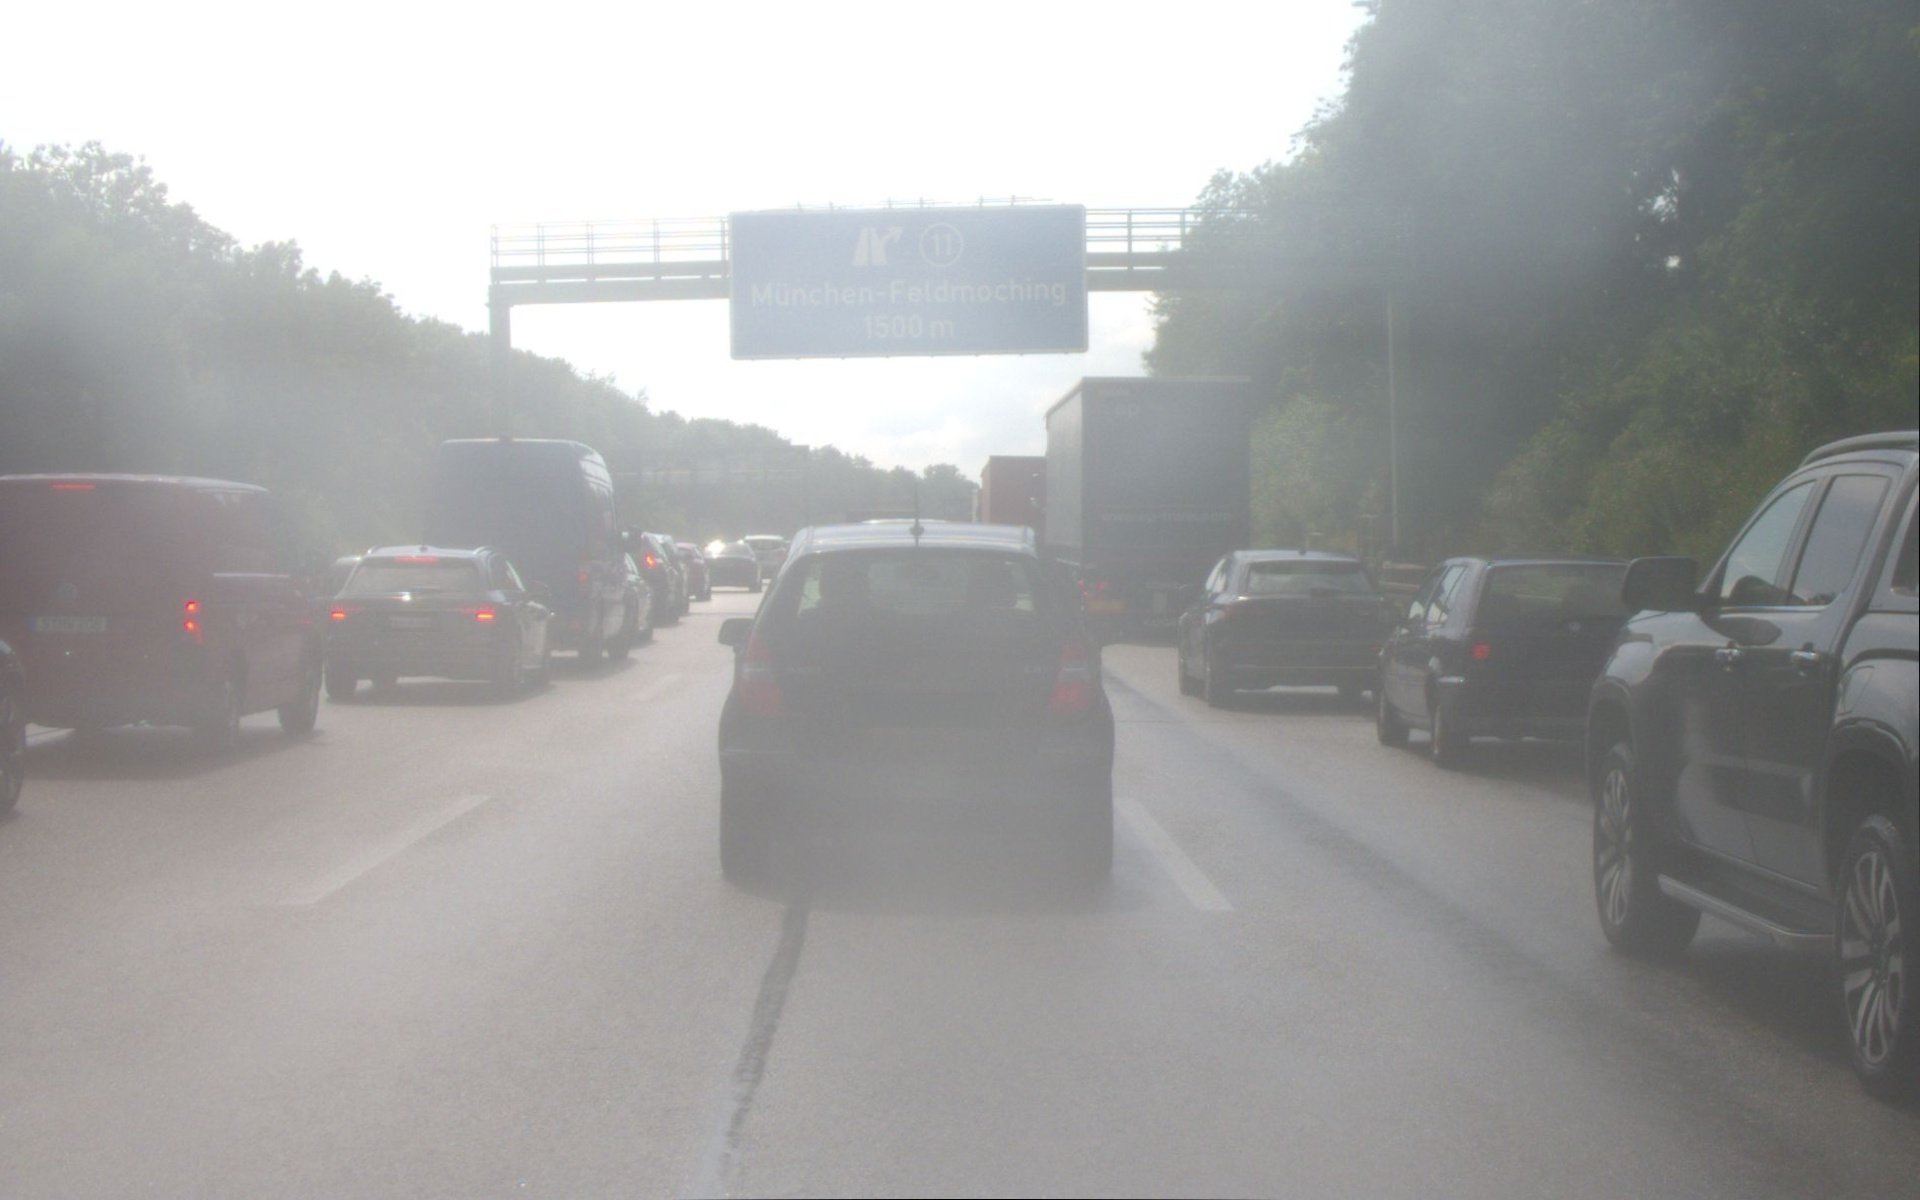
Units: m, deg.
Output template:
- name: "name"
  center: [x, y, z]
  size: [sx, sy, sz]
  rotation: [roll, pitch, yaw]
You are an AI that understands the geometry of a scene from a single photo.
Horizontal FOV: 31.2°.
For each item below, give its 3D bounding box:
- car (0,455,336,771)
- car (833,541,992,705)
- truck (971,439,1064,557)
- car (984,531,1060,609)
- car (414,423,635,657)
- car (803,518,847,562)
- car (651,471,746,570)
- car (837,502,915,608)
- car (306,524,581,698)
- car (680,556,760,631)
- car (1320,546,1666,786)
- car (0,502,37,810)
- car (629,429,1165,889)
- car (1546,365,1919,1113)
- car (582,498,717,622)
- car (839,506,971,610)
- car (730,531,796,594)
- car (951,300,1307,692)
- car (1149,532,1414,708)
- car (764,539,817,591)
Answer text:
- name: "car"
  center: [-5.890, 0.058, 24.795]
  size: [1.978, 2.047, 4.757]
  rotation: [1, 1, -1]
- name: "car"
  center: [-0.603, 0.232, 40.020]
  size: [1.692, 1.798, 3.976]
  rotation: [1, 1, -3]
- name: "truck"
  center: [1.780, -3.203, 109.520]
  size: [2.775, 3.619, 5.917]
  rotation: [1, 1, 0]
- name: "car"
  center: [1.713, -0.849, 96.398]
  size: [1.993, 2.108, 4.889]
  rotation: [1, 1, 0]
- name: "car"
  center: [-5.143, -0.698, 41.258]
  size: [1.993, 2.606, 5.260]
  rotation: [1, 1, 0]
- name: "car"
  center: [-6.609, -2.912, 168.701]
  size: [1.993, 2.108, 4.889]
  rotation: [1, 1, 0]
- name: "car"
  center: [-6.501, -1.946, 86.006]
  size: [1.993, 2.377, 5.260]
  rotation: [1, 1, 0]
- name: "car"
  center: [-2.217, -1.211, 92.045]
  size: [1.993, 2.737, 5.260]
  rotation: [1, 1, 0]
- name: "car"
  center: [-4.954, 0.078, 33.601]
  size: [1.993, 1.559, 4.756]
  rotation: [1, 1, 0]
- name: "car"
  center: [-6.928, -0.208, 99.787]
  size: [1.993, 2.108, 4.889]
  rotation: [1, 1, 0]
- name: "car"
  center: [3.604, 0.399, 23.872]
  size: [1.590, 1.511, 3.976]
  rotation: [1, 1, -3]
- name: "car"
  center: [-5.935, 0.331, 16.764]
  size: [1.908, 1.631, 4.617]
  rotation: [-1, 1, -4]
- name: "car"
  center: [-0.368, 0.228, 17.120]
  size: [2.274, 1.948, 4.822]
  rotation: [1, 1, -2]
- name: "car"
  center: [3.374, 0.341, 10.787]
  size: [1.941, 1.912, 5.652]
  rotation: [1, 1, -2]
- name: "car"
  center: [-5.498, -0.718, 61.380]
  size: [1.993, 2.108, 4.889]
  rotation: [1, 1, 0]
- name: "car"
  center: [-0.886, -0.642, 52.902]
  size: [1.864, 1.511, 3.976]
  rotation: [1, 1, -3]
- name: "car"
  center: [-6.735, -1.294, 118.090]
  size: [1.993, 2.108, 4.889]
  rotation: [1, 1, 0]
- name: "car"
  center: [2.510, -1.646, 59.860]
  size: [4.403, 5.810, 16.820]
  rotation: [1, 1, -3]
- name: "car"
  center: [2.911, 0.153, 31.885]
  size: [1.864, 1.511, 3.976]
  rotation: [1, 1, -3]
- name: "car"
  center: [-7.065, -1.480, 143.805]
  size: [1.993, 2.108, 4.889]
  rotation: [1, 1, 0]
